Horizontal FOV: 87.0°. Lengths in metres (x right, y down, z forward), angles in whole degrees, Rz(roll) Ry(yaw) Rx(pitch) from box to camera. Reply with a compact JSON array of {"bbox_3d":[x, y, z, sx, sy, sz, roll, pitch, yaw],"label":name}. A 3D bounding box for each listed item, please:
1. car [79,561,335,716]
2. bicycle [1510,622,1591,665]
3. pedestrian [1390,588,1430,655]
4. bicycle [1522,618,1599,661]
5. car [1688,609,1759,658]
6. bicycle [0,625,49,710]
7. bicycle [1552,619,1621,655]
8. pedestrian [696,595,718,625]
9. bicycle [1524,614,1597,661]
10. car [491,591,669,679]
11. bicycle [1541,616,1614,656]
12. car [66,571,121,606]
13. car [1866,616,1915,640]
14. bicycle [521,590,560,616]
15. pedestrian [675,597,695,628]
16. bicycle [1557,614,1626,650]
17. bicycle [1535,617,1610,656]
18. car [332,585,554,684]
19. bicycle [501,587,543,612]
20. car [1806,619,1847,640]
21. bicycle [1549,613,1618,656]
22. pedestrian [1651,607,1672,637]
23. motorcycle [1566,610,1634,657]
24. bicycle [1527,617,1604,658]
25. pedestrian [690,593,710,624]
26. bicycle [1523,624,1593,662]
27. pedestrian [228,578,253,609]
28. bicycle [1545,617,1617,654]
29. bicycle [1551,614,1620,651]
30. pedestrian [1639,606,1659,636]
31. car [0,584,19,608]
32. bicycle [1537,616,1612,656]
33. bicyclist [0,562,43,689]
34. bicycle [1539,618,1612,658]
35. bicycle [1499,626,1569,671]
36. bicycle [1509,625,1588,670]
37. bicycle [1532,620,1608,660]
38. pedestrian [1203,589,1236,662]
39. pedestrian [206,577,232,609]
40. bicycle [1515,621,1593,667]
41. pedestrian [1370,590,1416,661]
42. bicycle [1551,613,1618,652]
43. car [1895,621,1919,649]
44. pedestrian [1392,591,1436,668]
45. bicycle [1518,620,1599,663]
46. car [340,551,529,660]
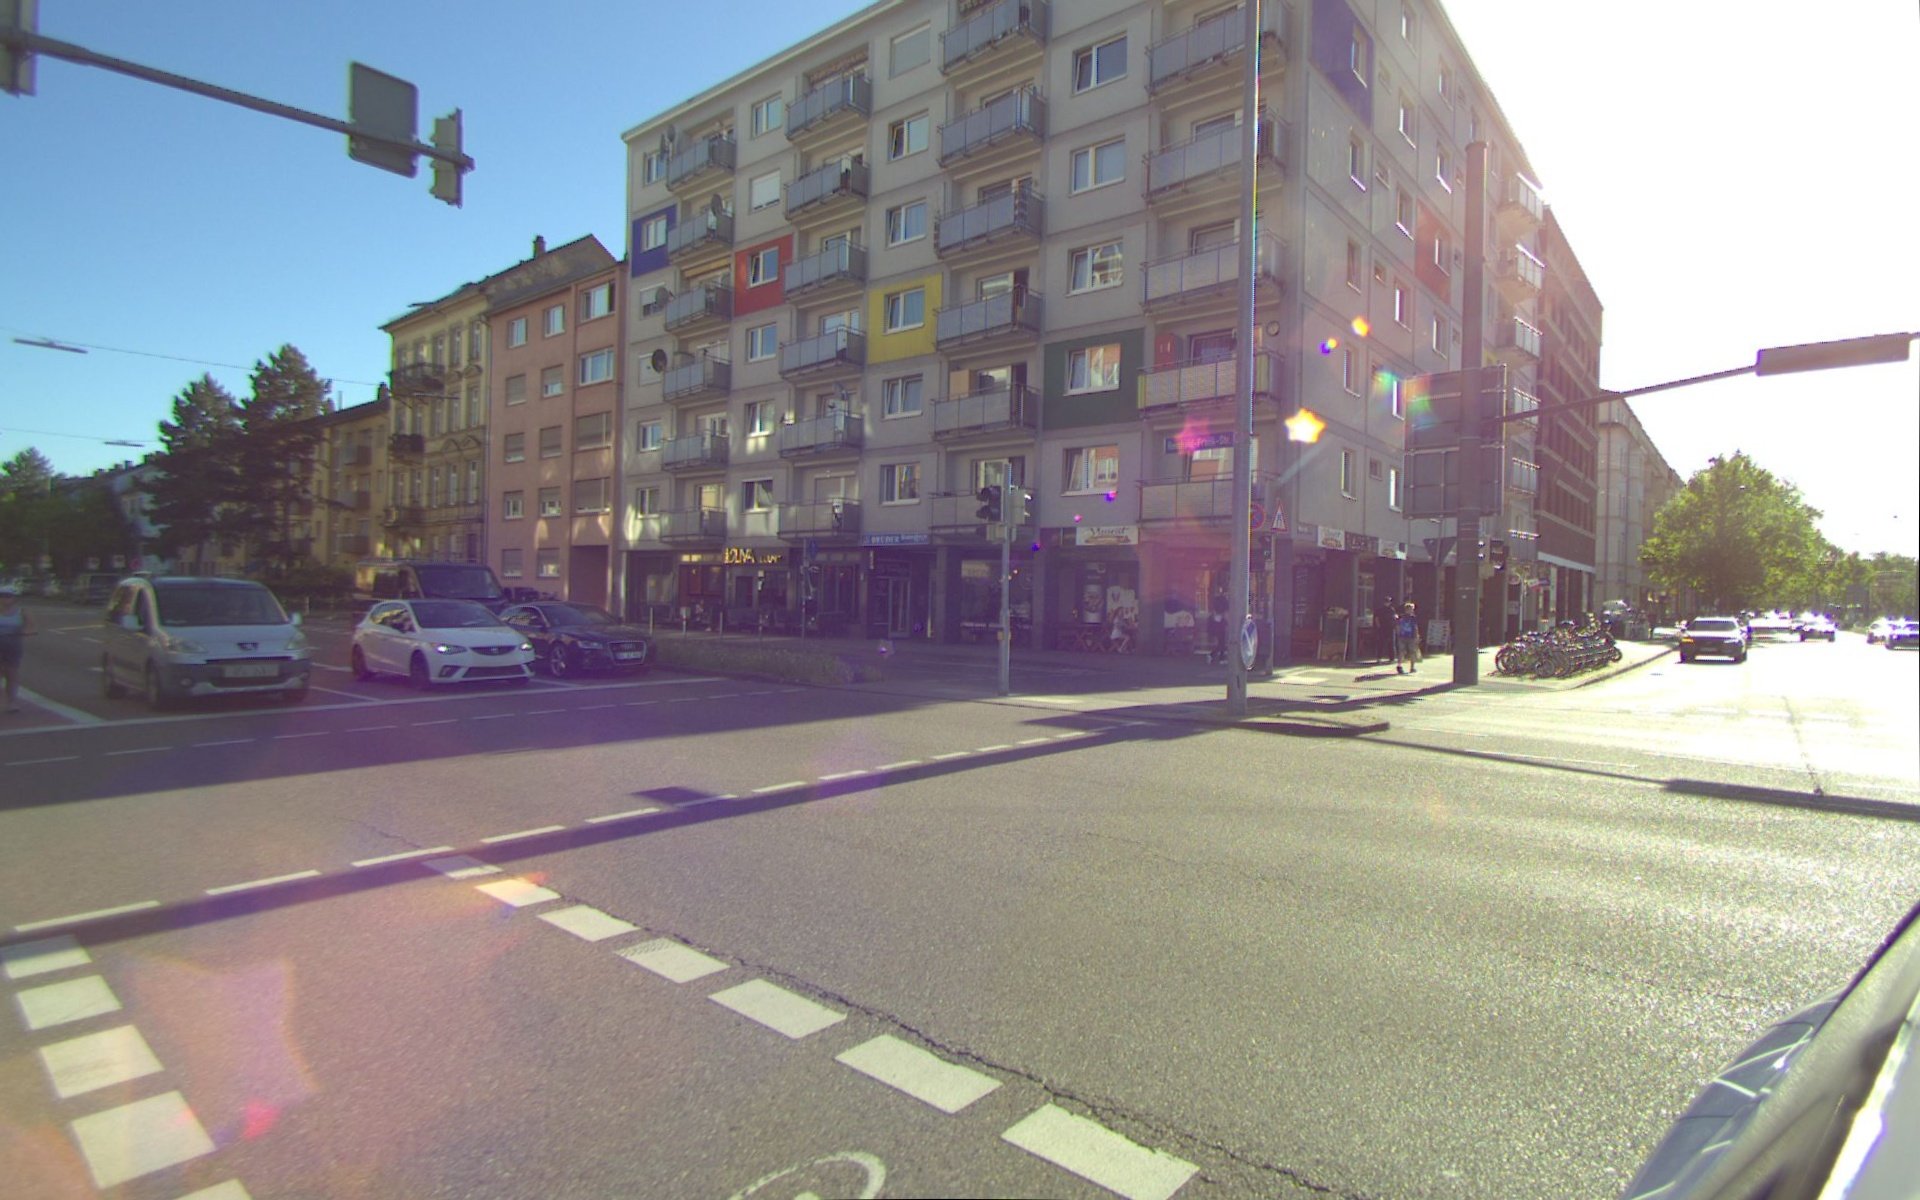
[{"bbox_3d":[-10.868,0.491,14.478,4.579,1.874,1.919,-1,-1,40],"label":"car"},{"bbox_3d":[15.333,1.122,26.298,1.747,1.090,0.400,-1,-1,38],"label":"bicycle"},{"bbox_3d":[13.097,0.622,29.444,0.860,1.910,0.790,1,0,-44],"label":"pedestrian"},{"bbox_3d":[16.707,1.079,28.173,1.766,1.068,0.409,3,2,39],"label":"bicycle"},{"bbox_3d":[29.309,1.232,38.804,1.895,1.709,4.057,0,0,41],"label":"car"},{"bbox_3d":[-12.366,0.838,12.844,2.137,1.013,0.849,-1,-1,38],"label":"bicycle"},{"bbox_3d":[19.498,1.141,31.520,1.812,1.074,0.410,0,0,36],"label":"bicycle"},{"bbox_3d":[-10.187,0.383,40.749,0.661,1.181,0.595,1,0,44],"label":"pedestrian"},{"bbox_3d":[16.454,1.010,27.735,1.635,1.125,0.524,4,2,37],"label":"bicycle"},{"bbox_3d":[-7.402,0.618,19.479,1.939,1.487,4.155,-1,0,-40],"label":"car"},{"bbox_3d":[18.334,1.050,30.060,1.812,1.082,0.410,1,2,36],"label":"bicycle"},{"bbox_3d":[-53.992,-0.694,63.045,4.226,2.039,1.972,-1,-1,40],"label":"car"},{"bbox_3d":[58.305,1.732,63.497,1.978,1.308,4.266,0,0,39],"label":"car"},{"bbox_3d":[-18.931,0.116,45.722,0.676,1.004,1.917,-2,4,10],"label":"bicycle"},{"bbox_3d":[-10.588,0.474,38.987,0.548,1.181,0.552,1,0,44],"label":"pedestrian"},{"bbox_3d":[20.051,1.003,32.152,1.812,1.074,0.410,1,1,36],"label":"bicycle"},{"bbox_3d":[17.557,1.040,29.031,1.813,1.074,0.410,-1,-1,37],"label":"bicycle"},{"bbox_3d":[-8.680,0.529,16.892,3.978,1.459,1.823,-1,0,38],"label":"car"},{"bbox_3d":[-20.359,-0.032,47.073,0.678,1.004,1.912,-1,4,17],"label":"bicycle"},{"bbox_3d":[59.175,2.005,69.145,1.978,1.308,4.331,0,0,39],"label":"car"},{"bbox_3d":[19.224,1.039,31.215,1.771,1.245,0.410,1,1,36],"label":"bicycle"},{"bbox_3d":[45.400,1.436,65.489,0.857,1.907,1.213,0,0,23],"label":"pedestrian"},{"bbox_3d":[21.848,1.117,34.550,1.873,1.447,0.877,3,2,36],"label":"motorcycle"},{"bbox_3d":[16.996,1.045,28.419,1.814,1.128,0.399,-1,-1,39],"label":"bicycle"},{"bbox_3d":[-10.170,0.328,39.616,0.562,1.181,0.521,1,0,44],"label":"pedestrian"},{"bbox_3d":[15.899,1.135,26.918,1.540,0.978,0.381,-1,-1,40],"label":"bicycle"},{"bbox_3d":[-39.577,-0.361,55.693,0.769,1.695,0.837,-1,-1,22],"label":"pedestrian"},{"bbox_3d":[18.690,1.062,30.467,1.812,1.024,0.410,2,1,36],"label":"bicycle"},{"bbox_3d":[19.688,1.006,31.871,1.812,1.073,0.410,1,1,36],"label":"bicycle"},{"bbox_3d":[39.094,1.159,57.393,0.659,1.672,0.773,1,0,-39],"label":"pedestrian"},{"bbox_3d":[-85.703,-0.353,90.315,4.226,2.039,1.972,-1,-1,40],"label":"car"},{"bbox_3d":[17.820,1.024,29.357,1.813,1.073,0.410,2,2,37],"label":"bicycle"},{"bbox_3d":[-12.355,0.330,12.835,0.930,1.580,0.929,-2,-1,37],"label":"bicyclist"},{"bbox_3d":[18.058,1.099,29.726,1.812,1.082,0.410,1,2,36],"label":"bicycle"},{"bbox_3d":[14.161,1.182,24.978,1.428,1.024,0.404,2,2,41],"label":"bicycle"},{"bbox_3d":[14.932,1.197,25.699,1.695,1.024,0.405,2,1,37],"label":"bicycle"},{"bbox_3d":[17.290,1.125,28.698,1.815,1.074,0.409,0,0,40],"label":"bicycle"},{"bbox_3d":[6.436,0.623,25.122,0.567,1.796,0.654,0,0,42],"label":"pedestrian"},{"bbox_3d":[-39.844,-0.368,54.409,0.770,1.695,0.837,-1,-1,25],"label":"pedestrian"},{"bbox_3d":[15.605,1.139,26.609,1.746,1.114,0.394,1,1,38],"label":"bicycle"},{"bbox_3d":[11.664,0.661,27.279,0.862,1.858,1.194,0,0,39],"label":"pedestrian"},{"bbox_3d":[20.474,1.064,33.193,1.812,1.189,0.694,1,1,36],"label":"bicycle"},{"bbox_3d":[50.371,1.824,52.968,1.850,1.308,4.038,0,0,39],"label":"car"},{"bbox_3d":[10.921,0.687,24.327,0.788,1.799,0.862,0,0,39],"label":"pedestrian"},{"bbox_3d":[16.145,1.106,27.313,1.808,1.096,0.524,-1,-1,37],"label":"bicycle"},{"bbox_3d":[-12.253,0.070,23.416,5.238,2.226,2.340,1,1,44],"label":"car"}]
